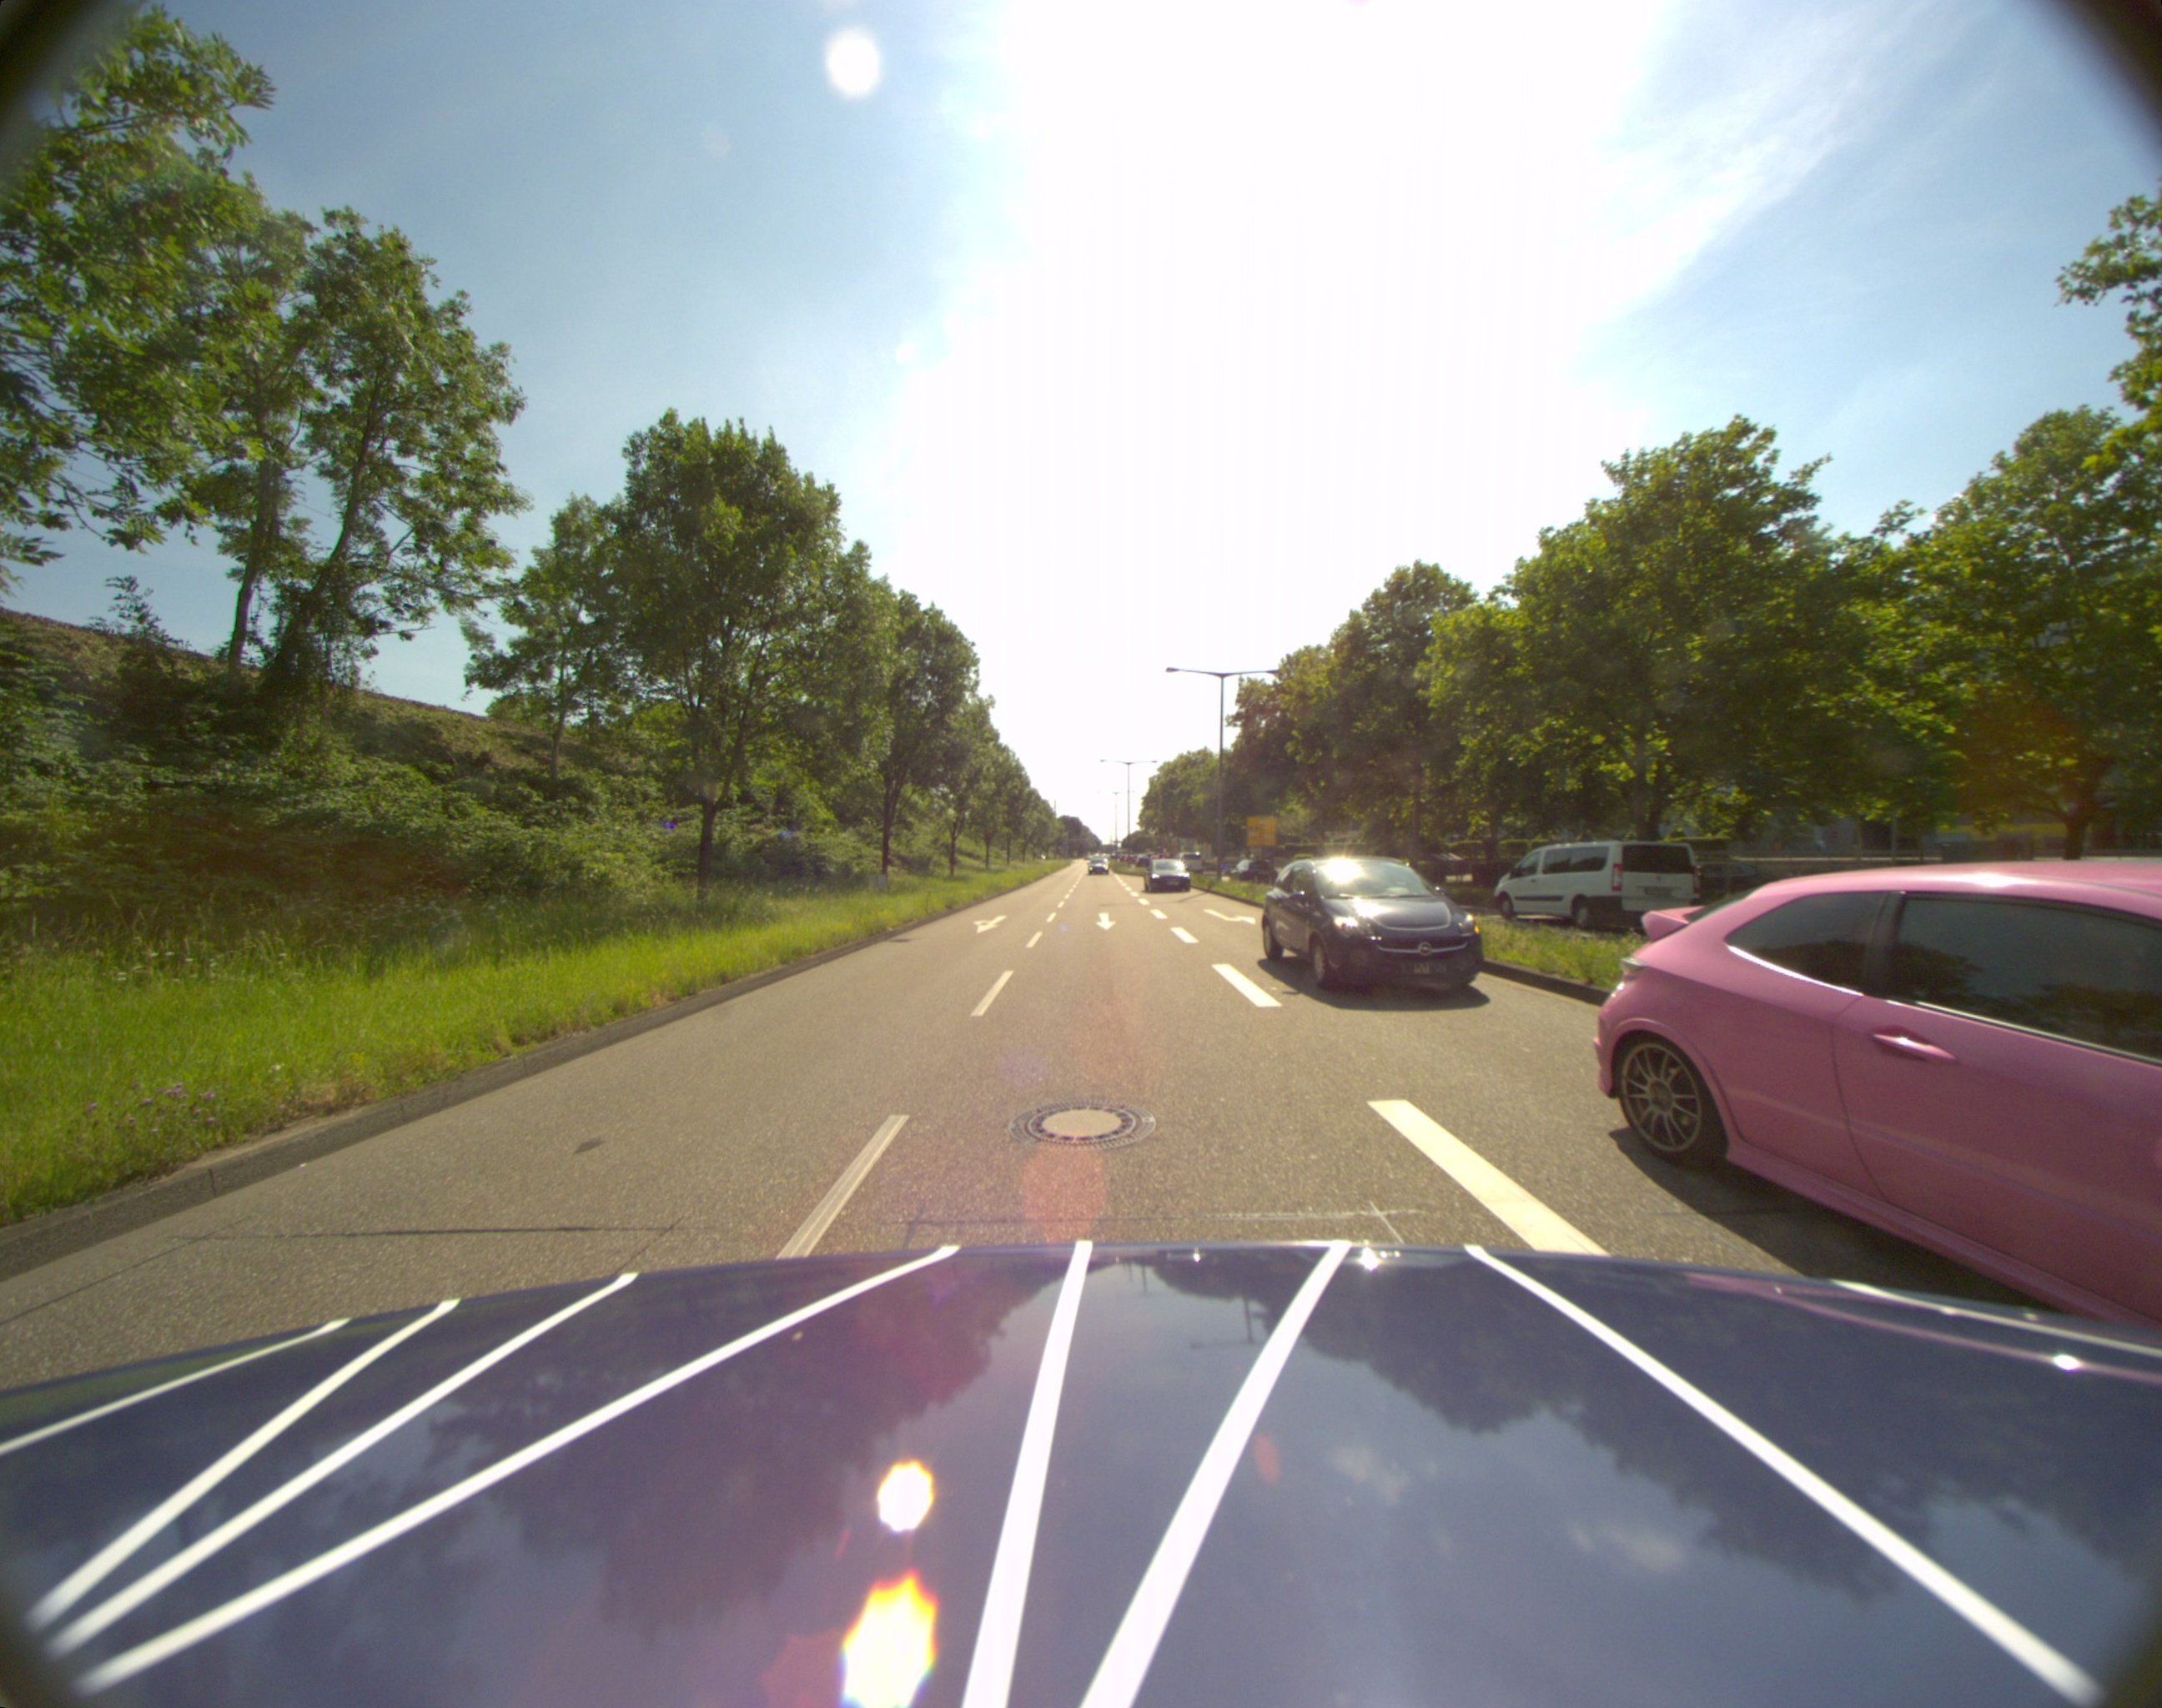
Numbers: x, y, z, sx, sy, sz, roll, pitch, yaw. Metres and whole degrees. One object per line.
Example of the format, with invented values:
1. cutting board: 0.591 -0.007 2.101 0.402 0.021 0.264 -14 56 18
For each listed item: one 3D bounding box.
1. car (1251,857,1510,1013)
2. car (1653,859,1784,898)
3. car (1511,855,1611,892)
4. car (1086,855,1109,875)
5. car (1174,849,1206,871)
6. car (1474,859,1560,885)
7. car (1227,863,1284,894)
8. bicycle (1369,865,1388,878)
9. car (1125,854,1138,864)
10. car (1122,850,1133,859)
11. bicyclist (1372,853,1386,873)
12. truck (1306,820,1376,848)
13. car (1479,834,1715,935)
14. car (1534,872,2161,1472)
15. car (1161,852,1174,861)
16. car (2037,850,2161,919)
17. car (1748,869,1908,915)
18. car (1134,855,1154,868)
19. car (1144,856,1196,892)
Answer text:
1. car: 3.413 0.805 9.528 1.630 1.474 4.048 -2 0 0
2. car: 26.903 1.018 32.158 3.997 1.592 1.869 0 0 0
3. car: 25.847 1.029 41.046 3.995 1.812 2.157 -1 1 5
4. car: 1.448 0.917 67.440 1.998 1.699 4.431 0 0 0
5. car: 9.693 0.533 67.923 2.122 1.872 5.419 0 0 0
6. car: 25.343 1.034 44.262 3.996 1.456 1.772 0 0 2
7. car: 9.274 1.273 40.734 1.998 1.522 4.682 0 0 1
8. bicycle: 22.084 1.285 56.449 0.691 0.861 1.926 0 0 1
9. car: 8.029 0.772 121.035 1.844 1.470 4.166 0 0 1
10. car: 8.556 0.073 139.558 1.777 1.459 4.671 1 0 1
11. bicyclist: 22.084 0.676 56.298 0.683 1.476 0.942 0 1 1
12. truck: 34.426 -2.582 100.874 2.678 3.376 8.965 -1 0 -35
13. car: 11.616 0.610 17.697 1.998 2.002 5.213 0 0 1
14. car: 3.527 0.822 2.234 1.706 1.382 4.472 -2 0 0
15. car: 13.945 0.369 122.357 1.768 1.454 4.000 1 0 1
16. car: 24.849 0.663 17.246 3.997 1.486 1.809 0 0 0
17. car: 26.095 1.300 26.622 3.999 1.406 1.804 -1 2 -5
18. car: 7.227 0.878 87.184 1.773 1.460 4.282 0 0 -2
19. car: 3.991 0.865 34.691 1.826 1.498 4.216 -2 0 0
